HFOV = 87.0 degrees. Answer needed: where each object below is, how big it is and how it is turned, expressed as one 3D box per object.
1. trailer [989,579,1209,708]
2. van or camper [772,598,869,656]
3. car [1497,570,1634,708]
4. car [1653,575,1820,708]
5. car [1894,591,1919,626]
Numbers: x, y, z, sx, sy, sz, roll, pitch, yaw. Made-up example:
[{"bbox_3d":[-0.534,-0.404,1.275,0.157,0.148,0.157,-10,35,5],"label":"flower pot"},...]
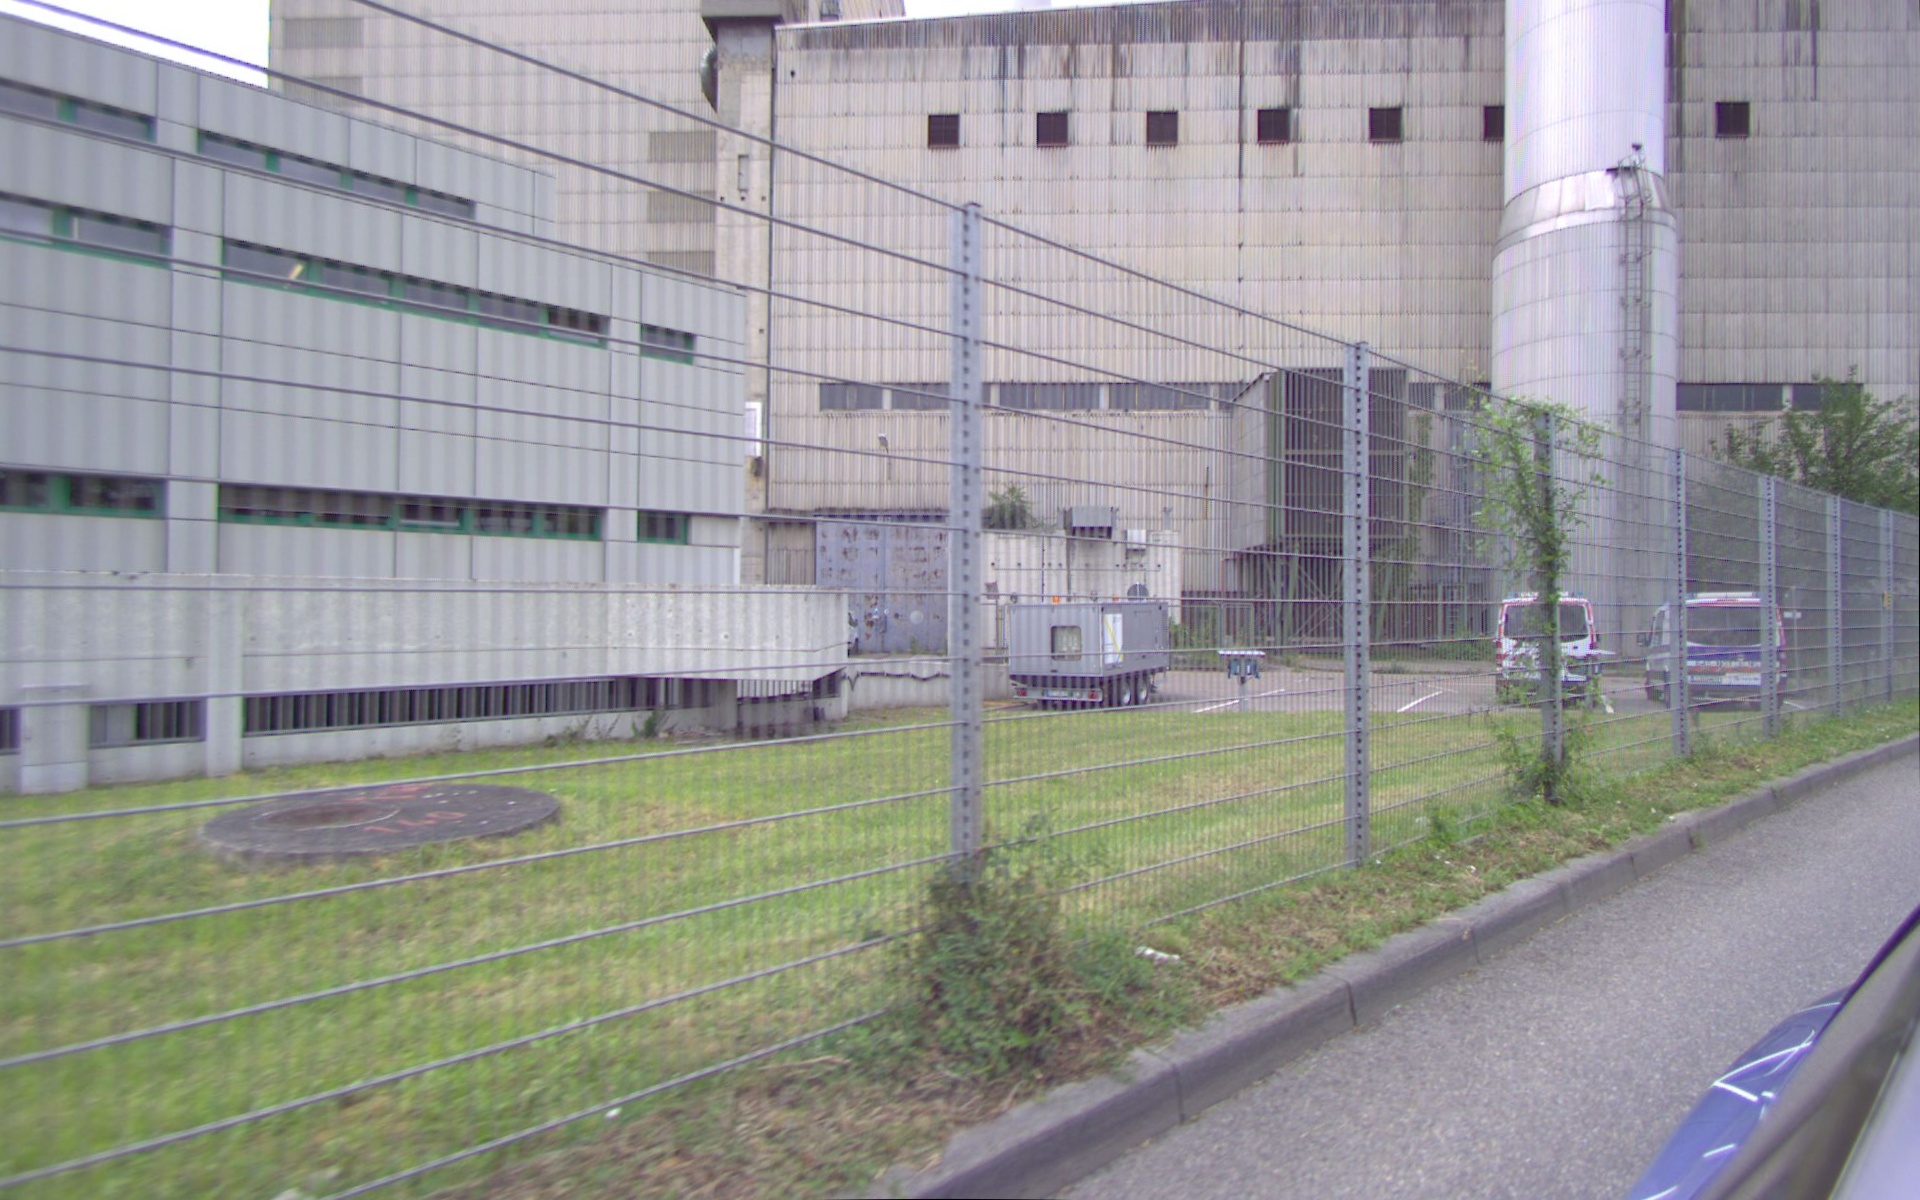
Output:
[{"bbox_3d":[3.472,0.913,23.751,2.645,2.576,6.355,-1,-1,33],"label":"trailer"},{"bbox_3d":[-5.684,1.040,42.100,2.322,2.168,5.314,0,1,13],"label":"van or camper"},{"bbox_3d":[13.943,0.904,23.443,2.407,2.798,5.393,-1,-3,30],"label":"car"},{"bbox_3d":[16.993,0.921,22.458,2.220,2.581,5.134,-1,-3,30],"label":"car"},{"bbox_3d":[67.978,0.577,70.735,5.719,2.398,2.003,0,-1,-26],"label":"car"}]
